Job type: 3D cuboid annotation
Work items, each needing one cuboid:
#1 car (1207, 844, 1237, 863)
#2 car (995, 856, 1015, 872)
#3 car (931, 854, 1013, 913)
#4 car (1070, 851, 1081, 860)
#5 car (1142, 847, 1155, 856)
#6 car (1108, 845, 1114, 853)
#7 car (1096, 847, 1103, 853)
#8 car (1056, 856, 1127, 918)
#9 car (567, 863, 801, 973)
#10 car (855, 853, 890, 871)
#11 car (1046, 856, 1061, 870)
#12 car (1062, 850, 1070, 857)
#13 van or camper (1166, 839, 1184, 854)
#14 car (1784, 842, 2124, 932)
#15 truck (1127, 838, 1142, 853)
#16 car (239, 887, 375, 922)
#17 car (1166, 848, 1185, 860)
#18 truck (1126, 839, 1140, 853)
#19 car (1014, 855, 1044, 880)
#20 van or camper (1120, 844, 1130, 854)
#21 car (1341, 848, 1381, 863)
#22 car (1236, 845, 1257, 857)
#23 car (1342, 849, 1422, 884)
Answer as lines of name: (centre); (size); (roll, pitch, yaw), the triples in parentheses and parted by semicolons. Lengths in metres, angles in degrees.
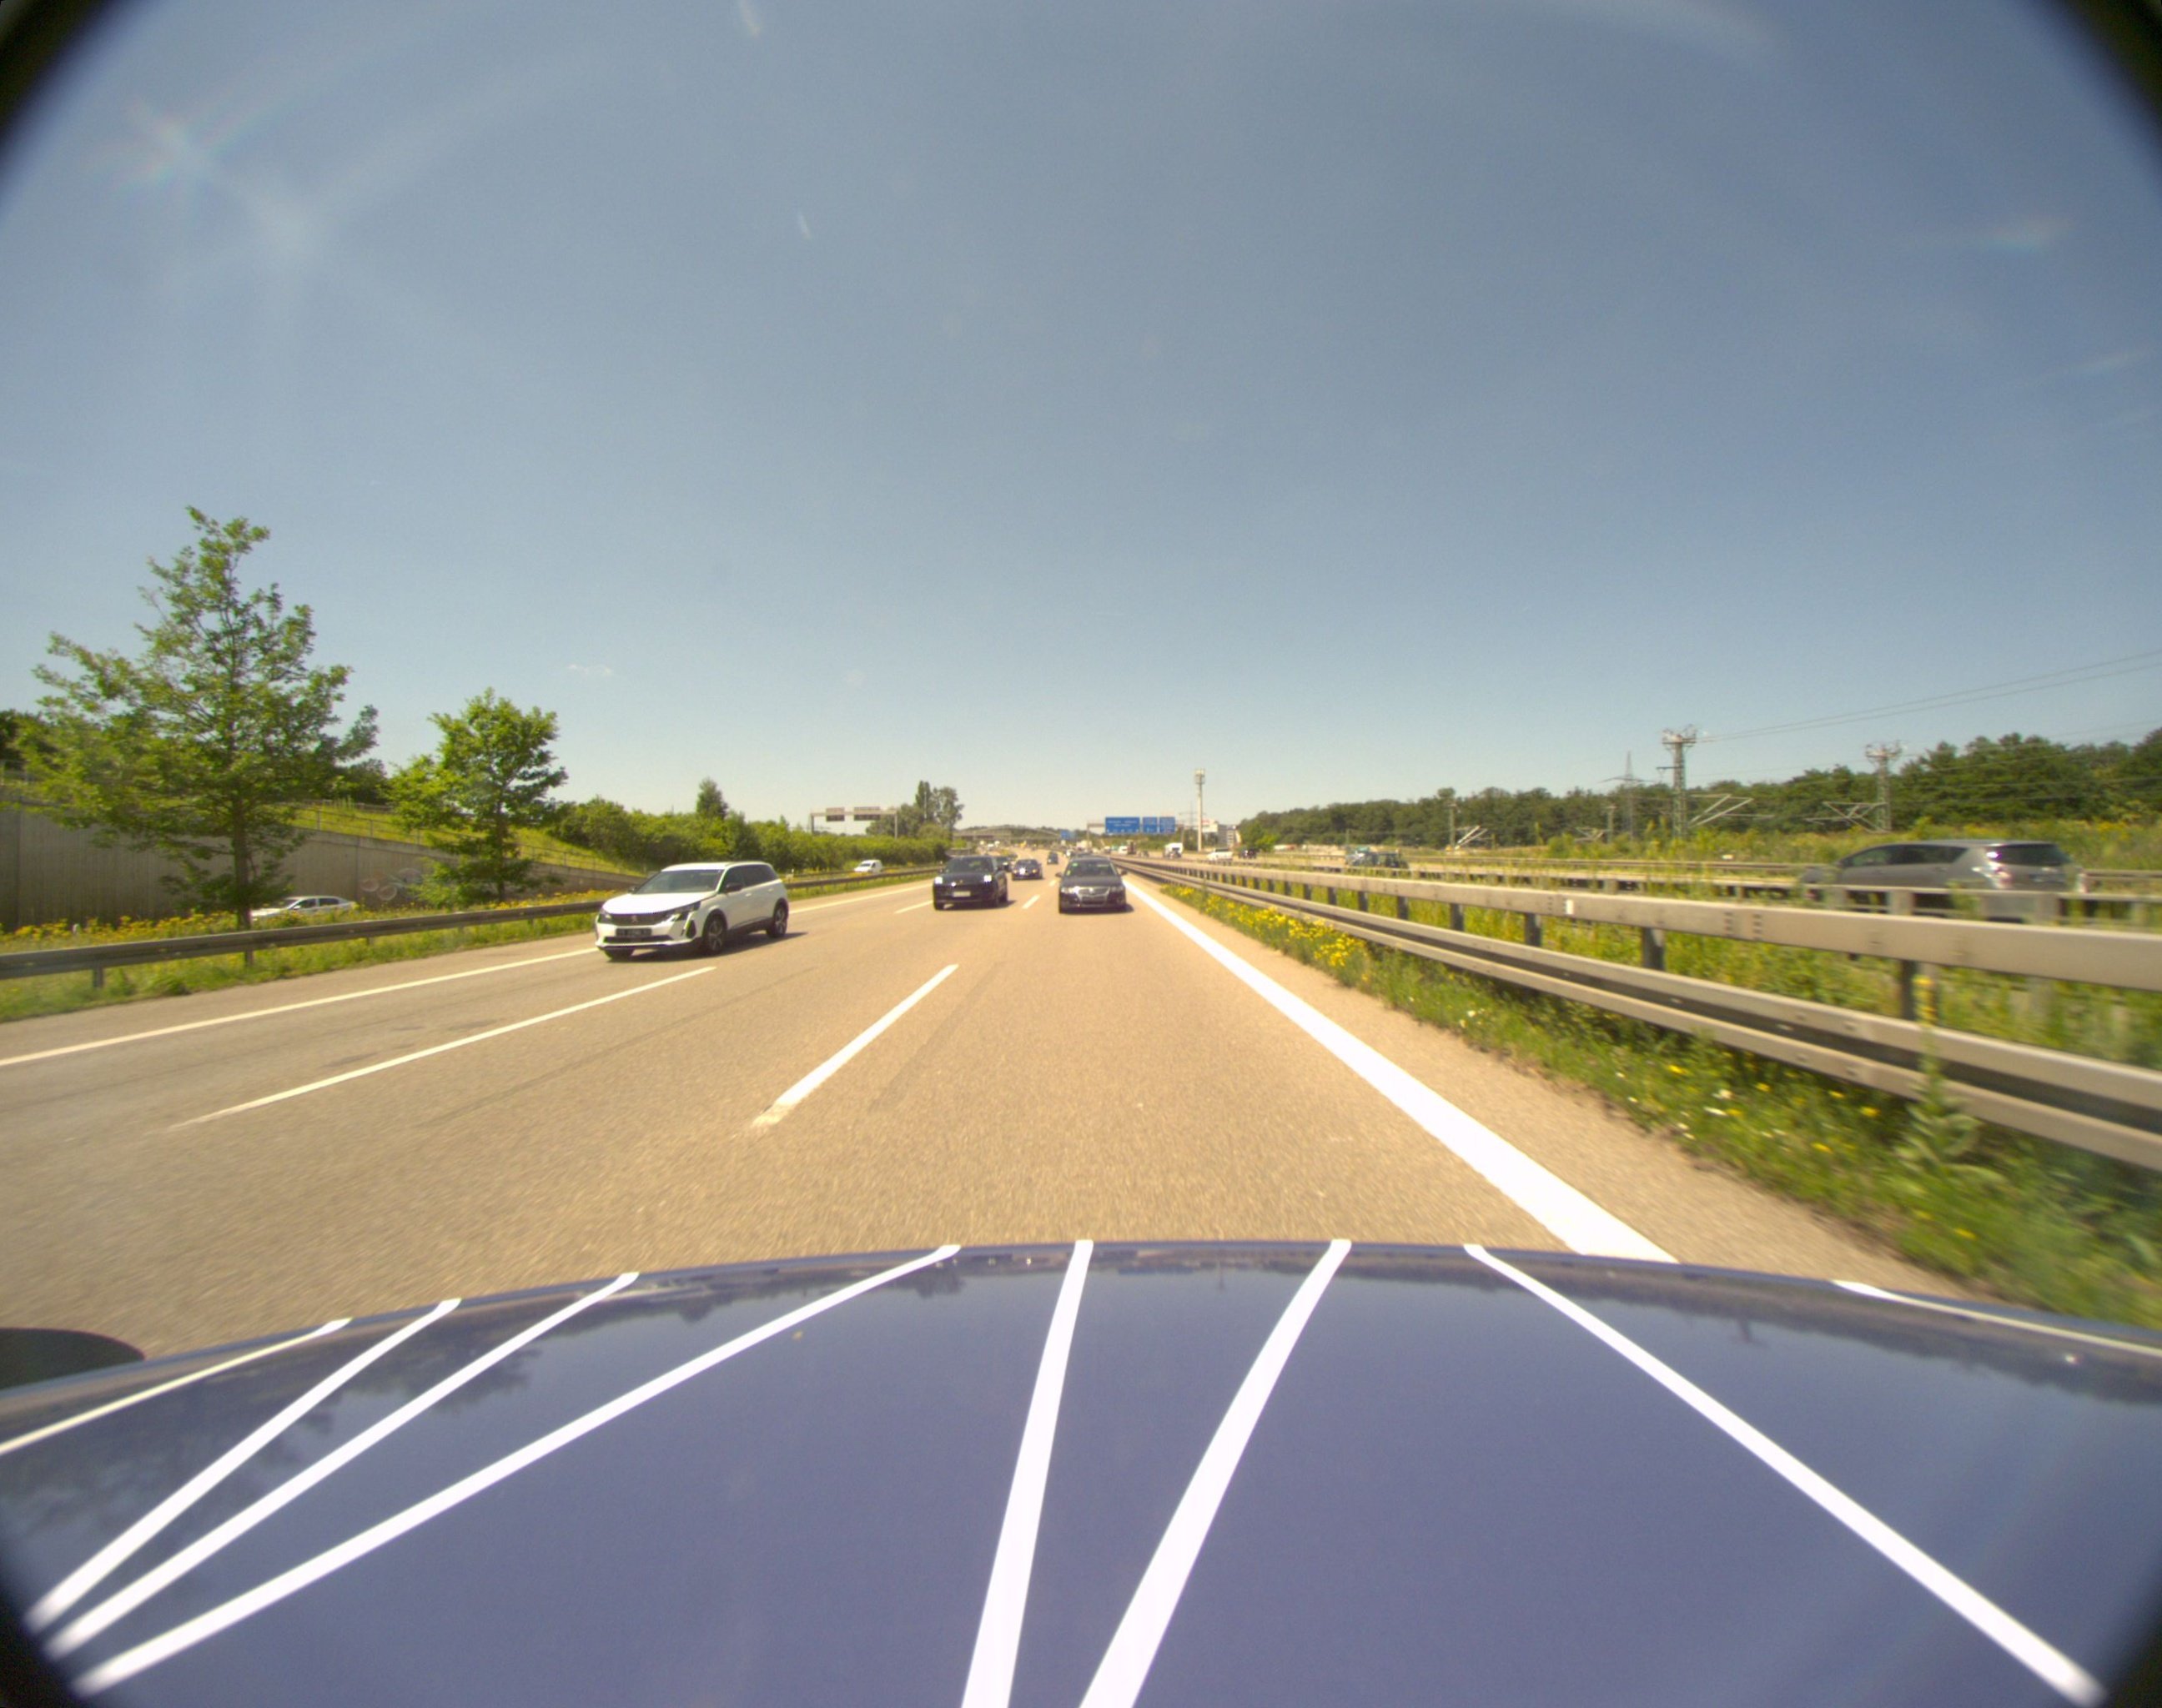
car: (14.449, -0.044, 78.248); (1.998, 1.820, 5.598); (-1, 1, 0)
car: (-7.487, 0.952, 75.045); (1.752, 1.462, 3.998); (-2, 1, -4)
car: (-3.386, 0.867, 24.526); (1.983, 1.620, 4.616); (-2, 1, -1)
car: (-1.112, 0.234, 153.690); (1.999, 1.691, 3.999); (-2, 1, 0)
car: (13.192, -0.479, 149.381); (1.999, 1.500, 4.888); (-2, 1, 0)
car: (9.056, -1.495, 229.464); (1.785, 2.169, 3.999); (-2, 1, 0)
car: (6.396, -1.554, 263.096); (1.999, 2.002, 3.999); (-2, 1, 0)
car: (0.265, 0.855, 21.362); (1.752, 1.462, 3.999); (-2, 1, 0)
car: (-7.197, 1.050, 14.440); (1.898, 1.620, 4.617); (-2, 1, 1)
car: (-24.580, 0.889, 89.782); (1.996, 2.002, 4.768); (-1, 0, 13)
car: (-4.163, 1.313, 114.478); (1.999, 2.002, 3.999); (-2, 1, 0)
car: (-4.282, -0.091, 216.172); (1.998, 2.002, 3.999); (-2, 1, 0)
van or camper: (17.117, -1.307, 139.165); (2.343, 2.641, 7.603); (-1, 0, 0)
car: (17.638, 0.579, 15.793); (1.998, 1.567, 4.477); (-1, 1, 2)
truck: (14.783, -2.336, 210.876); (3.395, 3.959, 12.240); (-2, 1, 1)
car: (-36.363, 2.337, 35.853); (1.896, 1.272, 4.081); (-2, 0, 12)
car: (13.509, 0.013, 108.959); (1.999, 1.565, 4.549); (-1, 1, -1)
truck: (14.941, -2.349, 219.038); (3.426, 3.901, 8.582); (-2, 1, 1)
car: (-3.422, 0.868, 50.511); (1.752, 1.462, 3.998); (-2, 1, -2)
van or camper: (11.032, -1.221, 189.301); (1.999, 2.327, 5.076); (-2, 1, -2)
car: (24.864, 0.118, 67.622); (1.998, 1.304, 4.163); (-1, 1, 0)
car: (23.893, -0.424, 109.802); (1.998, 1.588, 4.934); (-1, 1, 1)
car: (13.912, 0.547, 35.366); (1.934, 1.475, 4.476); (-1, 1, 0)
